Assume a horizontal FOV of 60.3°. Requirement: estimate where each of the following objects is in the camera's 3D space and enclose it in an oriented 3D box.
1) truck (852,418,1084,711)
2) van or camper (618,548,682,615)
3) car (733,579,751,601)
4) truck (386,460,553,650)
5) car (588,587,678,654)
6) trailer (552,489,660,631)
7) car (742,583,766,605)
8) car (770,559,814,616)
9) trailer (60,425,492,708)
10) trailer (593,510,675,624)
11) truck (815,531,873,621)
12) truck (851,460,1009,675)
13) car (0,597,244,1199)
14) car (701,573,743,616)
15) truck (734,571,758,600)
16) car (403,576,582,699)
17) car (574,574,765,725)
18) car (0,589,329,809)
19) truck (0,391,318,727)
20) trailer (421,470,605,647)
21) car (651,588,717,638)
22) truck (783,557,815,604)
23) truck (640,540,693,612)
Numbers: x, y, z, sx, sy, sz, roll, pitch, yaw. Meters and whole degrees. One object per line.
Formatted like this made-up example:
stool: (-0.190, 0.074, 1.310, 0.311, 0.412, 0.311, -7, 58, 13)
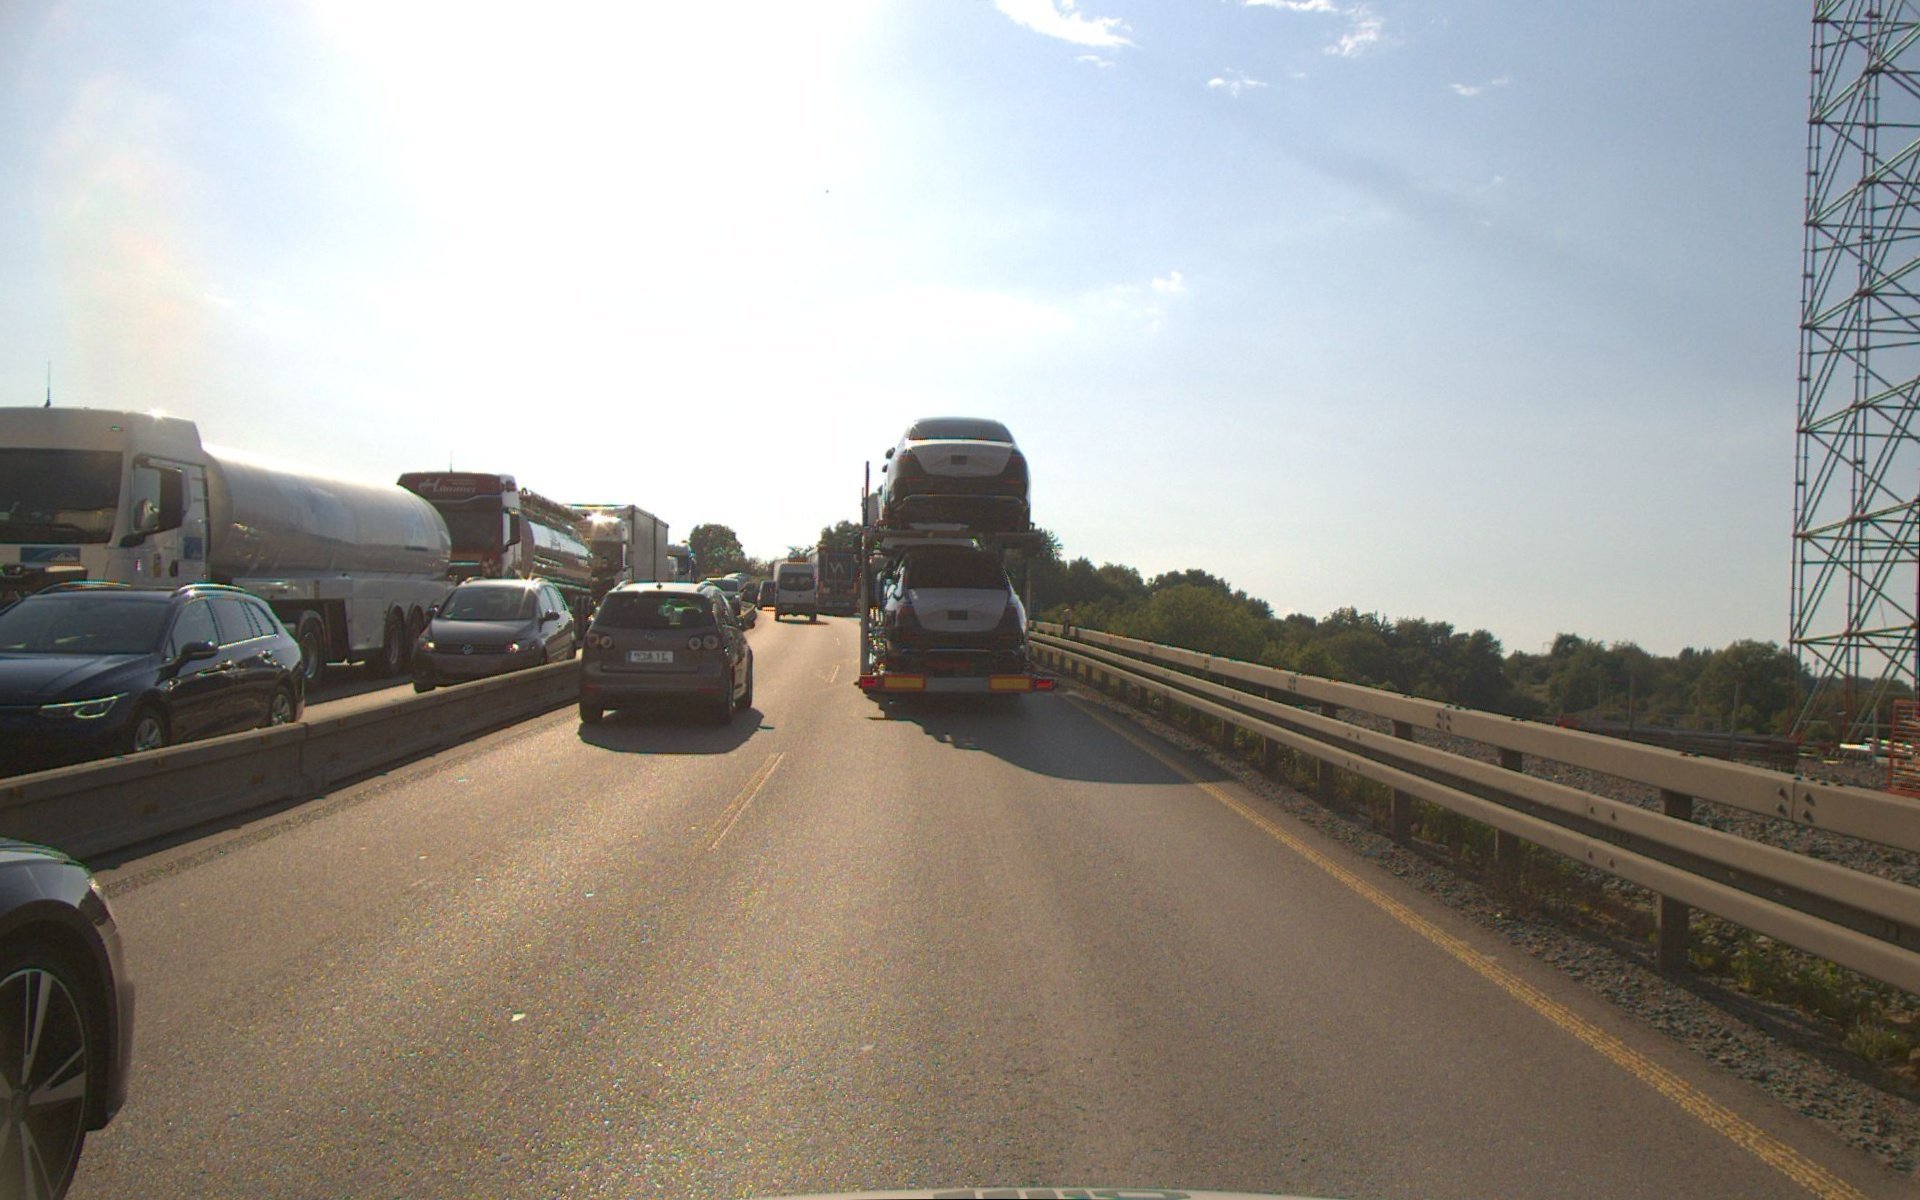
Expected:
truck: (-0.234, -0.423, 25.583, 2.744, 3.558, 10.596, 1, 0, -4)
van or camper: (-14.502, -0.823, 77.802, 2.362, 2.942, 7.607, 1, 0, -7)
car: (-20.504, -0.903, 155.172, 1.599, 2.049, 3.992, 1, 0, -8)
truck: (-10.738, -0.916, 36.696, 2.385, 3.851, 5.612, 1, 0, -5)
car: (-7.572, 0.461, 38.638, 1.596, 1.451, 4.383, 1, 0, -5)
trailer: (-12.010, -1.240, 56.937, 2.428, 4.404, 10.497, 1, 0, -6)
car: (-17.395, -0.524, 139.723, 1.790, 1.803, 3.996, 1, 0, -5)
car: (-7.843, -0.570, 77.688, 1.883, 2.536, 5.403, 1, 0, -4)
trailer: (-10.024, -0.402, 26.174, 2.260, 3.420, 12.046, 1, 0, -2)
trailer: (-12.972, -1.237, 66.400, 2.396, 4.262, 8.533, 1, 0, -6)
truck: (-7.424, -1.441, 104.380, 3.223, 5.328, 9.922, 1, 0, -6)
truck: (-0.873, -0.583, 34.991, 2.782, 3.858, 9.978, 1, 0, -4)
car: (-2.867, 0.716, 1.977, 1.895, 1.423, 4.960, 1, 0, -1)
car: (-11.460, -0.252, 79.873, 1.782, 1.959, 4.830, 1, 0, -6)
truck: (-24.107, -1.614, 186.141, 2.541, 3.226, 6.667, 1, 0, -7)
car: (-6.656, 0.497, 23.928, 1.716, 1.614, 3.939, 1, 0, -4)
car: (-3.385, 0.539, 19.950, 1.657, 1.624, 3.999, 1, 0, -1)
car: (-6.600, 0.640, 12.881, 1.757, 1.422, 4.243, 1, 0, -1)
truck: (-9.852, -0.422, 19.715, 2.365, 3.429, 5.614, 1, 0, -2)
trailer: (-11.131, -0.914, 42.413, 2.261, 3.856, 12.041, 1, 0, -4)
car: (-8.533, 0.383, 51.398, 1.595, 1.451, 4.653, 1, 0, -4)
truck: (-13.119, -1.518, 134.873, 2.481, 3.712, 8.895, 1, 0, -5)
truck: (-16.190, -1.264, 91.516, 2.552, 3.820, 6.506, 1, 0, -7)
